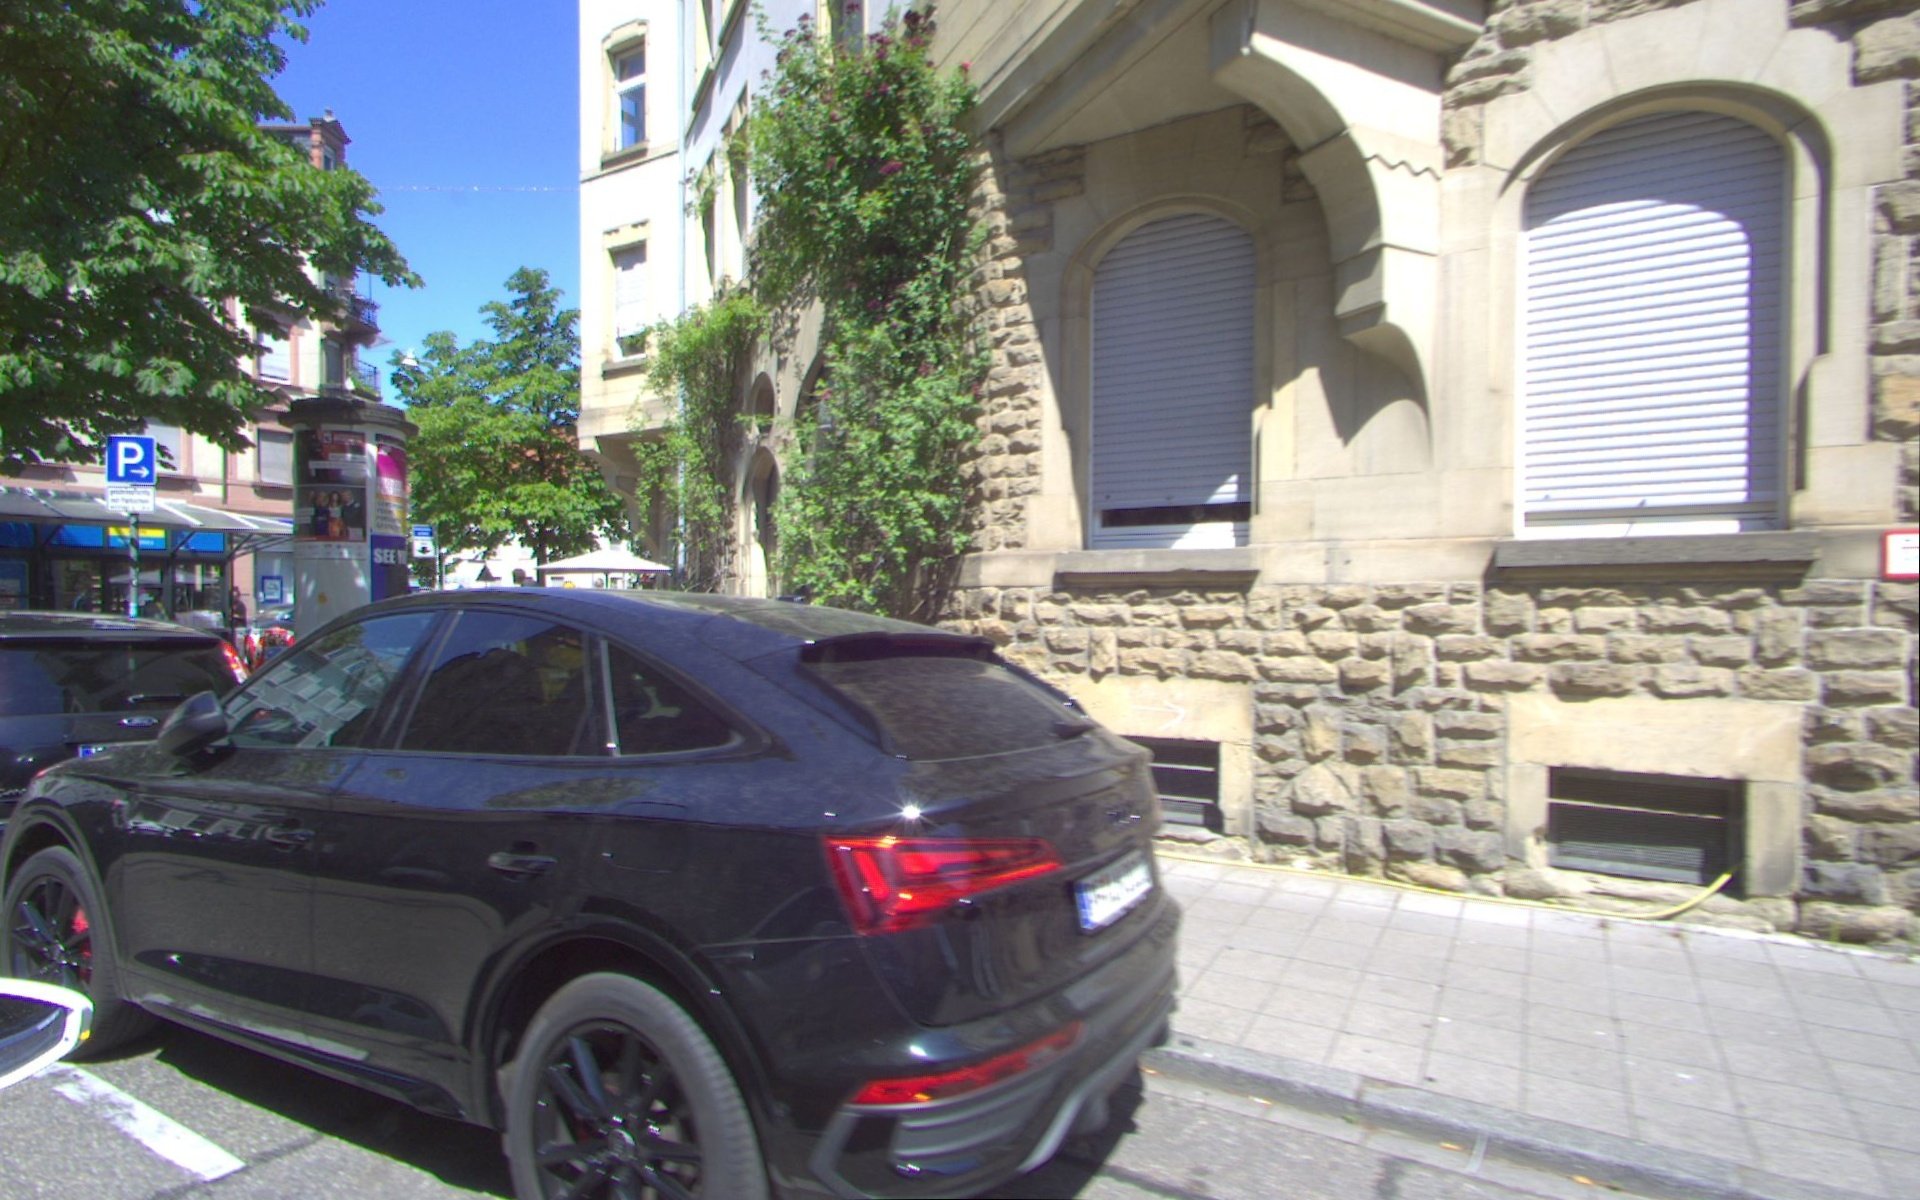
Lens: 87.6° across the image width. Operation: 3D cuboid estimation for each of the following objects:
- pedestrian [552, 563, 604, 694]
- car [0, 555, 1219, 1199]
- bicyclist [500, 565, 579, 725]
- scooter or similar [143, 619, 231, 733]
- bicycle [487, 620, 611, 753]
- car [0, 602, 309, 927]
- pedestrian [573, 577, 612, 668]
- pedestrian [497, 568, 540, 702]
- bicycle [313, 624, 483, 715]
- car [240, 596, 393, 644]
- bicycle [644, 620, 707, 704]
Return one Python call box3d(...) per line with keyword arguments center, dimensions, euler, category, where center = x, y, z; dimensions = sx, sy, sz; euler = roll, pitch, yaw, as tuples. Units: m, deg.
box3d(center=(-5.734, 0.418, 15.072), dimensions=(0.590, 1.905, 0.882), euler=(0, 0, -12), category="pedestrian")
box3d(center=(-1.455, 0.761, 3.520), dimensions=(4.281, 1.617, 1.735), euler=(0, -2, 29), category="car")
box3d(center=(-4.555, 0.465, 10.837), dimensions=(0.671, 1.670, 0.657), euler=(-1, 1, -33), category="bicyclist")
box3d(center=(-8.399, 0.793, 10.921), dimensions=(0.436, 1.152, 1.181), euler=(-1, 1, -22), category="scooter or similar")
box3d(center=(-4.437, 0.835, 10.678), dimensions=(0.785, 1.185, 2.562), euler=(-1, 1, -32), category="bicycle")
box3d(center=(-6.090, 0.807, 6.332), dimensions=(4.116, 1.560, 1.661), euler=(0, -2, 31), category="car")
box3d(center=(-7.481, 0.451, 20.386), dimensions=(0.572, 1.818, 0.749), euler=(0, 1, -7), category="pedestrian")
box3d(center=(-6.389, 0.499, 14.510), dimensions=(0.511, 1.893, 0.652), euler=(0, 0, -20), category="pedestrian")
box3d(center=(-7.402, 0.880, 13.289), dimensions=(0.624, 1.053, 1.896), euler=(0, 1, 31), category="bicycle")
box3d(center=(-21.652, 0.617, 33.833), dimensions=(1.752, 1.526, 3.981), euler=(0, 1, 30), category="car")
box3d(center=(-4.003, 0.830, 14.029), dimensions=(0.541, 1.053, 1.829), euler=(-1, 1, -26), category="bicycle")
